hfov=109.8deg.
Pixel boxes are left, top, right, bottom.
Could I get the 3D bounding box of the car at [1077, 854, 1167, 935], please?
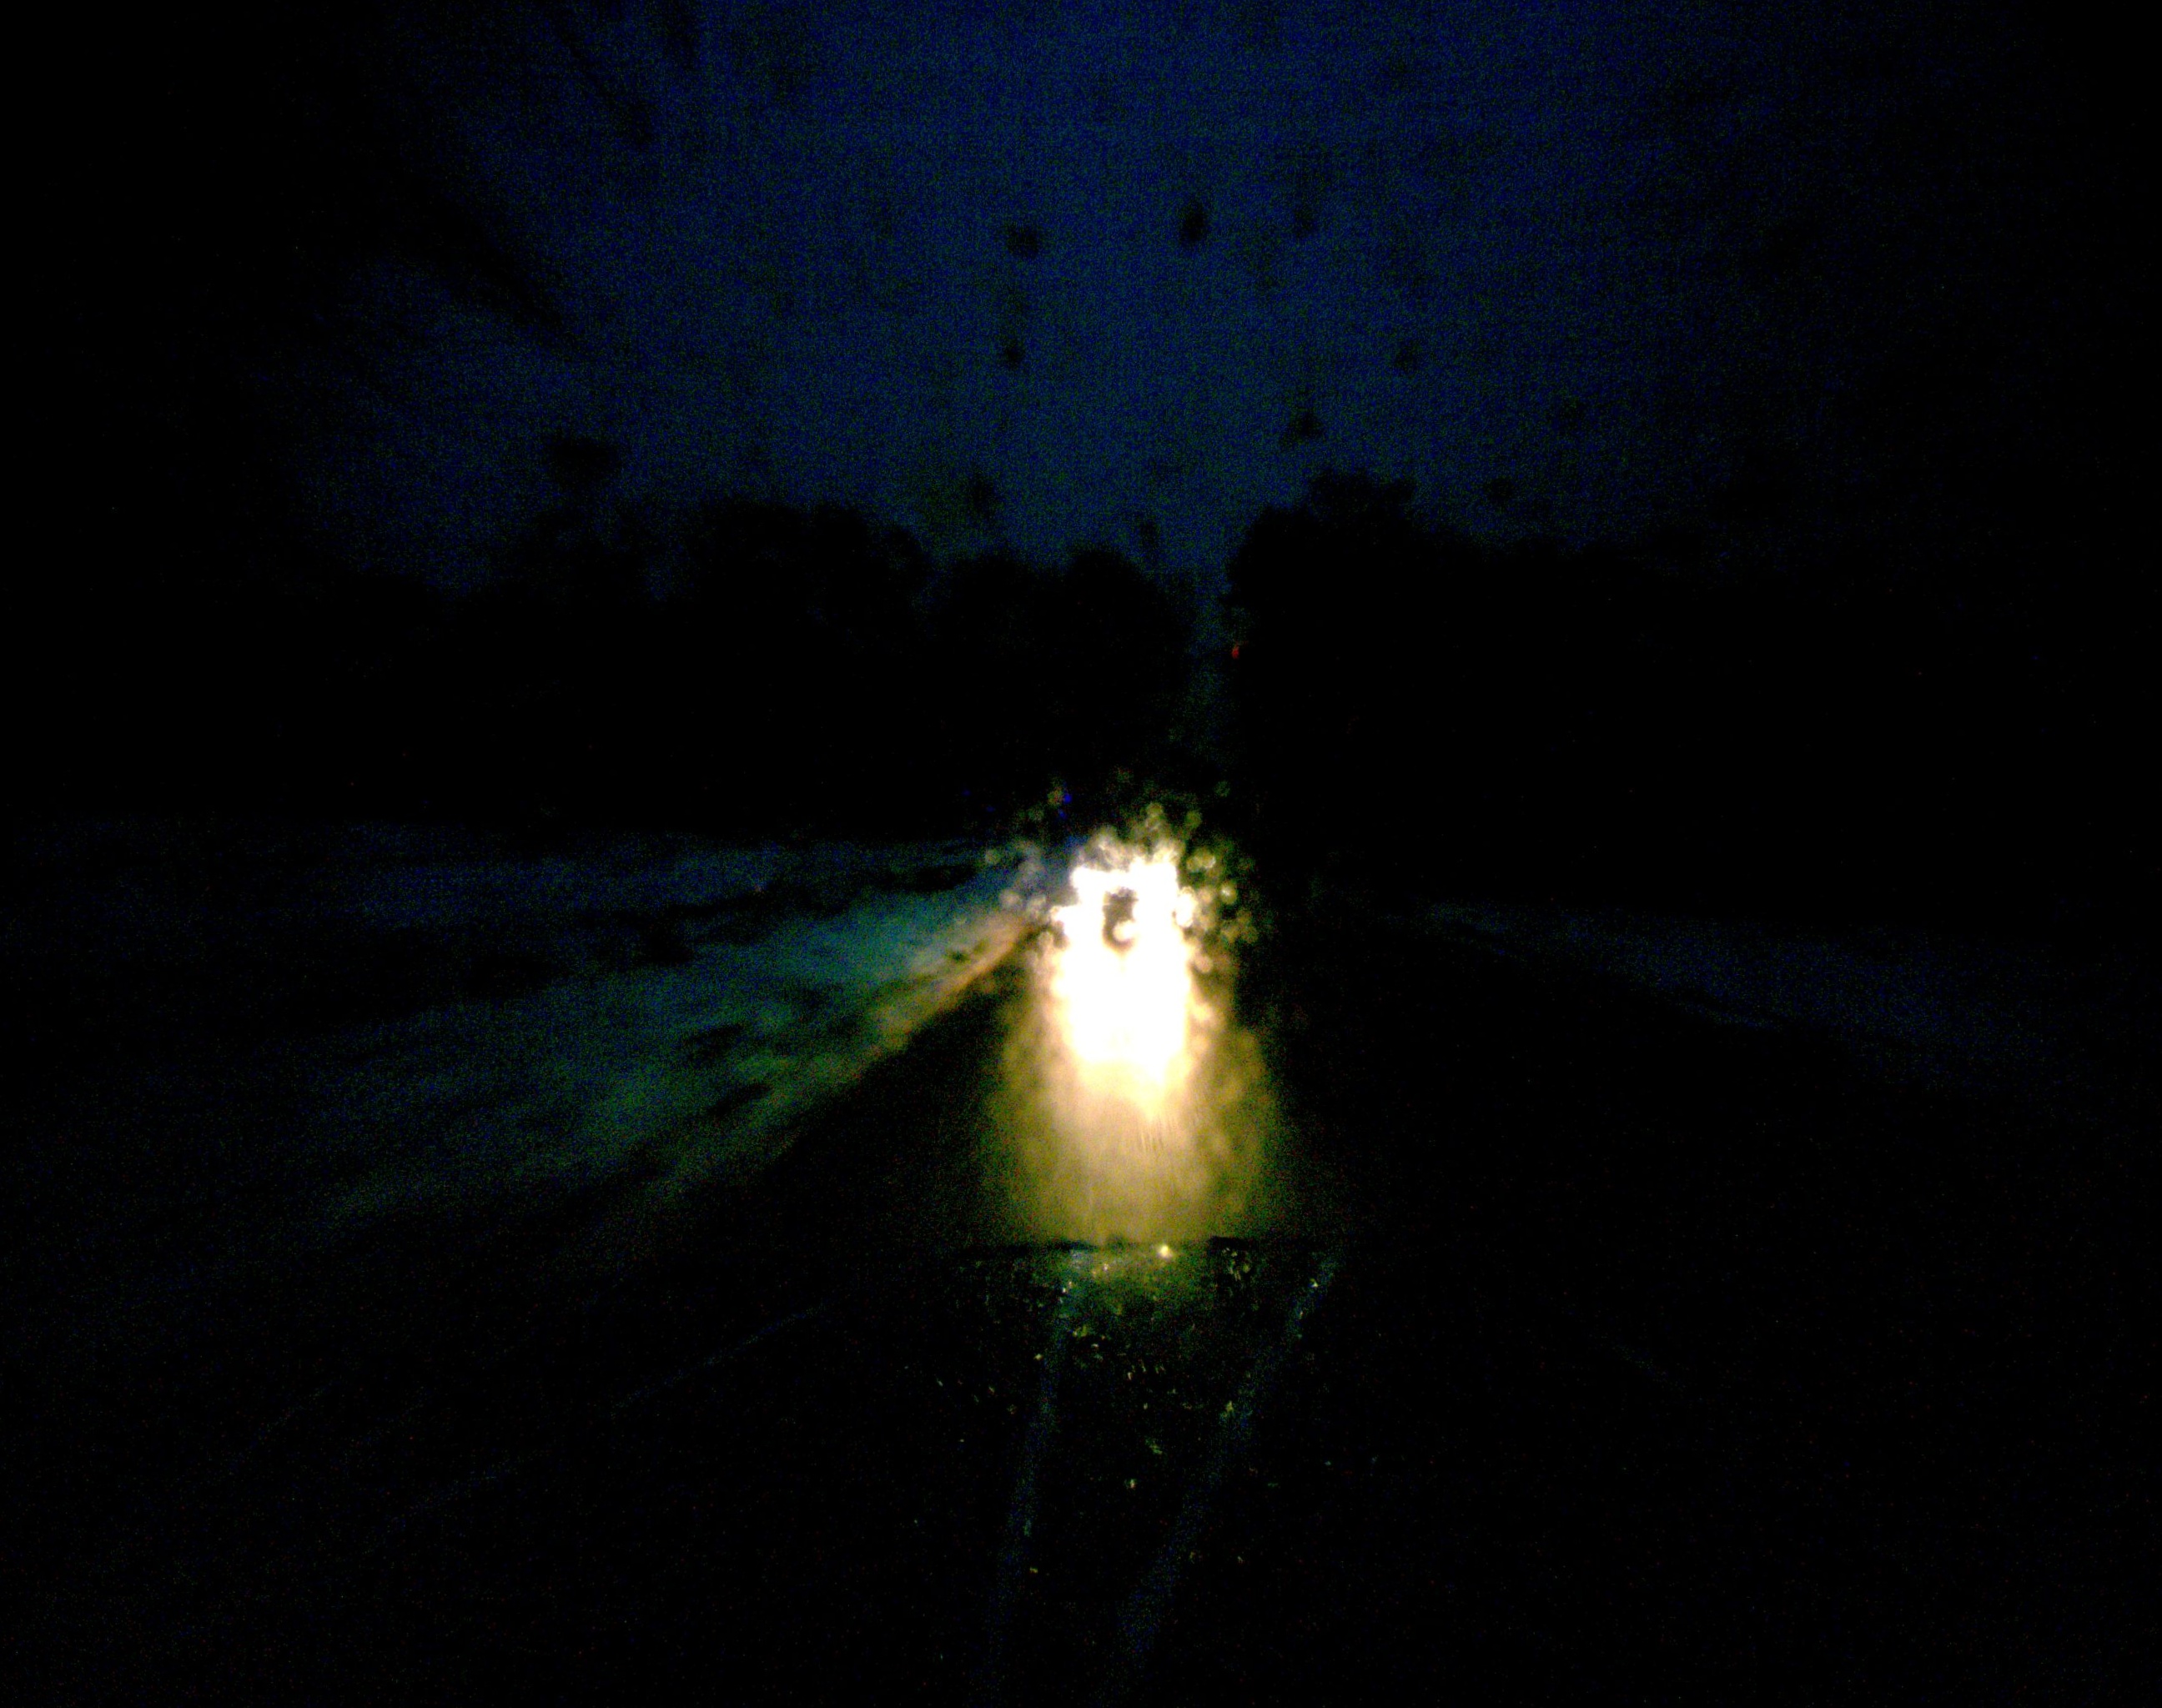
[{"bbox_3d":[1.000,0.789,16.533,1.649,1.446,3.682,-2,1,7],"label":"car"}]
